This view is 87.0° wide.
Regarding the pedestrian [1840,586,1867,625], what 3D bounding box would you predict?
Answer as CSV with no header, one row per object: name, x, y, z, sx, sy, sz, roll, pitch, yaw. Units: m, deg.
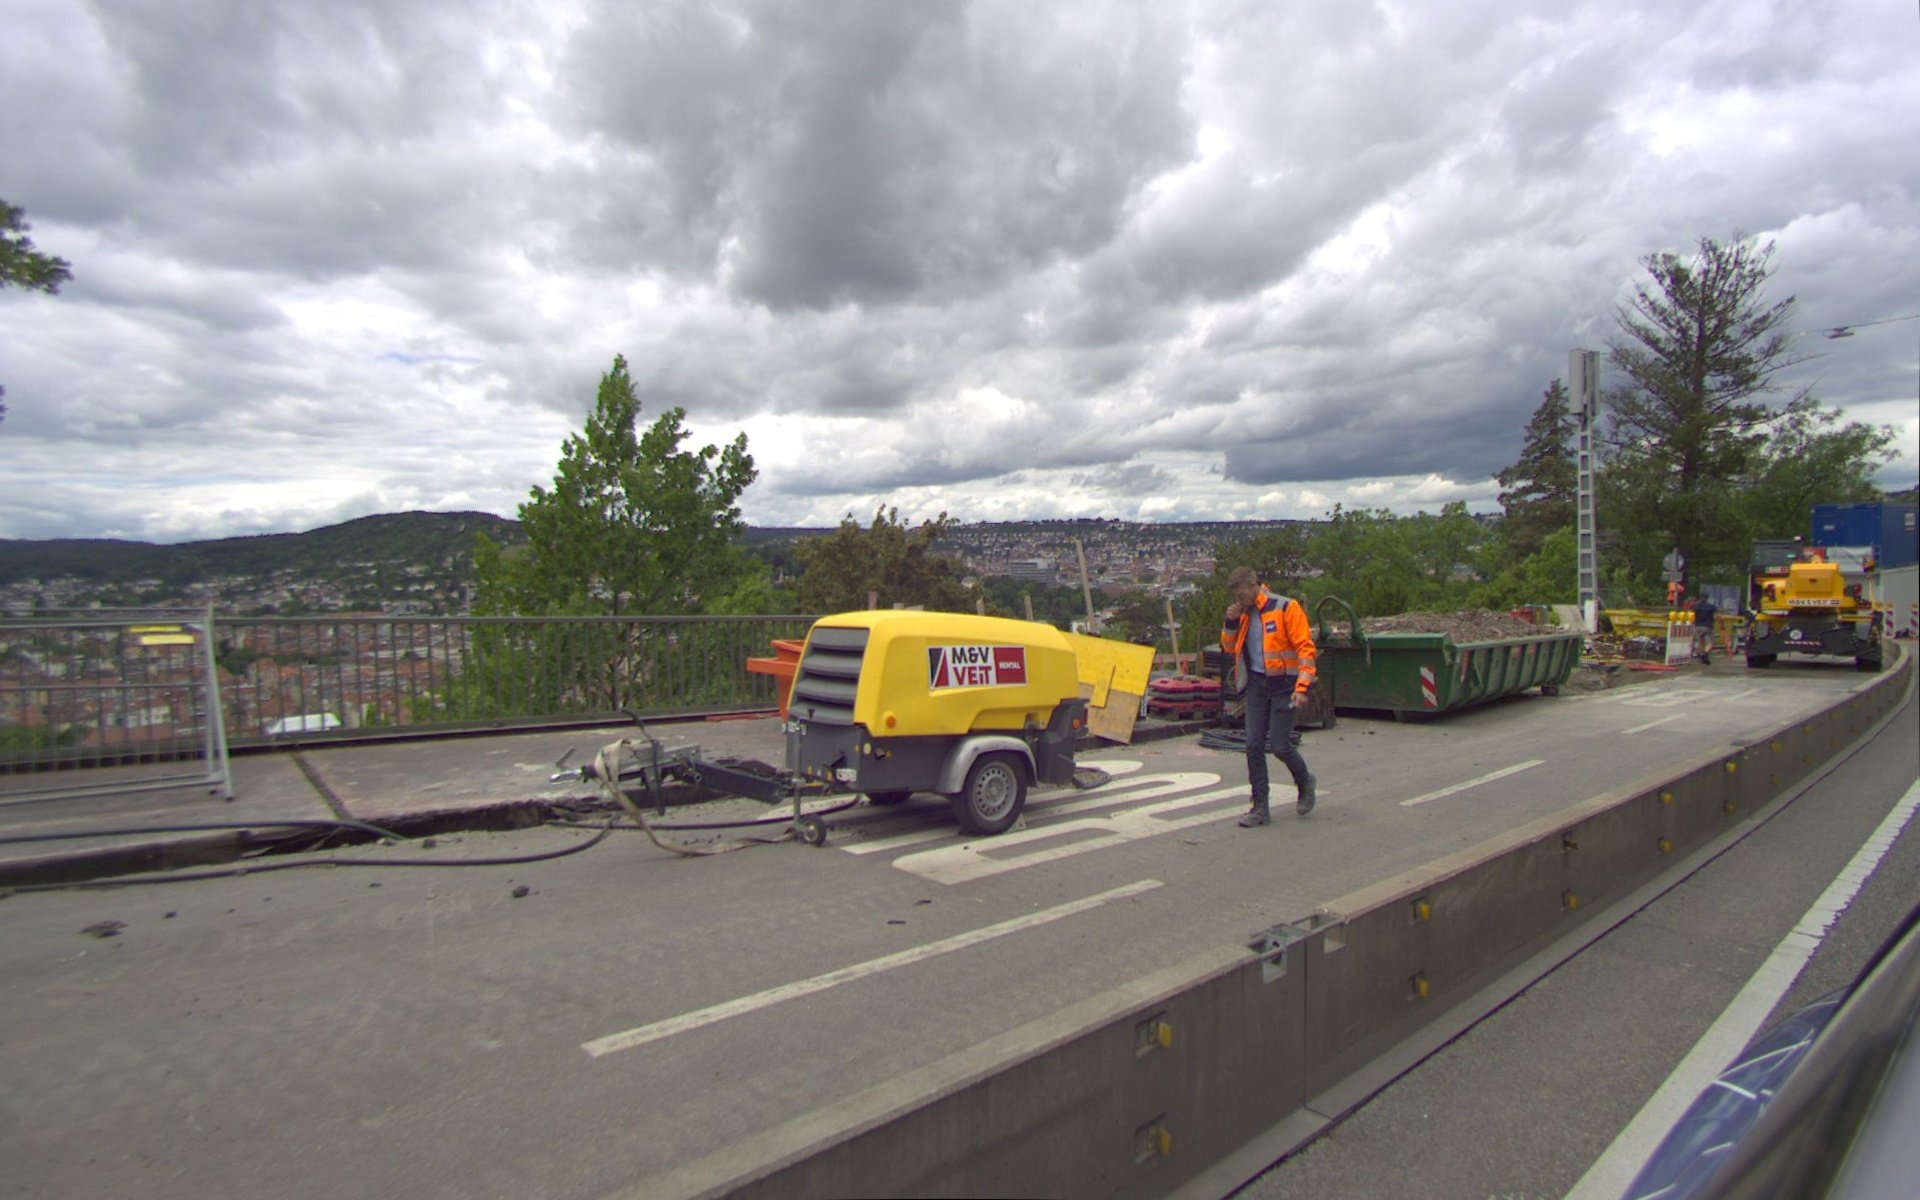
pedestrian,38.884,0.233,44.054,0.640,1.682,0.647,0,-1,13

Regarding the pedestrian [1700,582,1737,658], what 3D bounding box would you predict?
pedestrian,18.528,0.481,24.734,0.686,1.818,0.533,1,-1,35

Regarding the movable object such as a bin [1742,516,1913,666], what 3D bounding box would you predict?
movable object such as a bin,21.254,-0.191,24.742,2.810,3.110,7.703,0,0,42

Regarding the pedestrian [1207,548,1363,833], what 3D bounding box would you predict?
pedestrian,2.139,0.549,6.656,0.836,1.723,0.646,1,-1,-43

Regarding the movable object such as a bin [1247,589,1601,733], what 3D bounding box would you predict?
movable object such as a bin,6.897,0.651,14.406,2.375,1.581,6.985,0,0,44

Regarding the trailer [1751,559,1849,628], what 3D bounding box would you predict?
trailer,33.940,-0.272,40.849,5.028,2.581,2.112,0,3,-40

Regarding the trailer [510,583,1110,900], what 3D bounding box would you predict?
trailer,-0.773,0.668,6.374,3.566,1.493,1.292,0,0,-37
